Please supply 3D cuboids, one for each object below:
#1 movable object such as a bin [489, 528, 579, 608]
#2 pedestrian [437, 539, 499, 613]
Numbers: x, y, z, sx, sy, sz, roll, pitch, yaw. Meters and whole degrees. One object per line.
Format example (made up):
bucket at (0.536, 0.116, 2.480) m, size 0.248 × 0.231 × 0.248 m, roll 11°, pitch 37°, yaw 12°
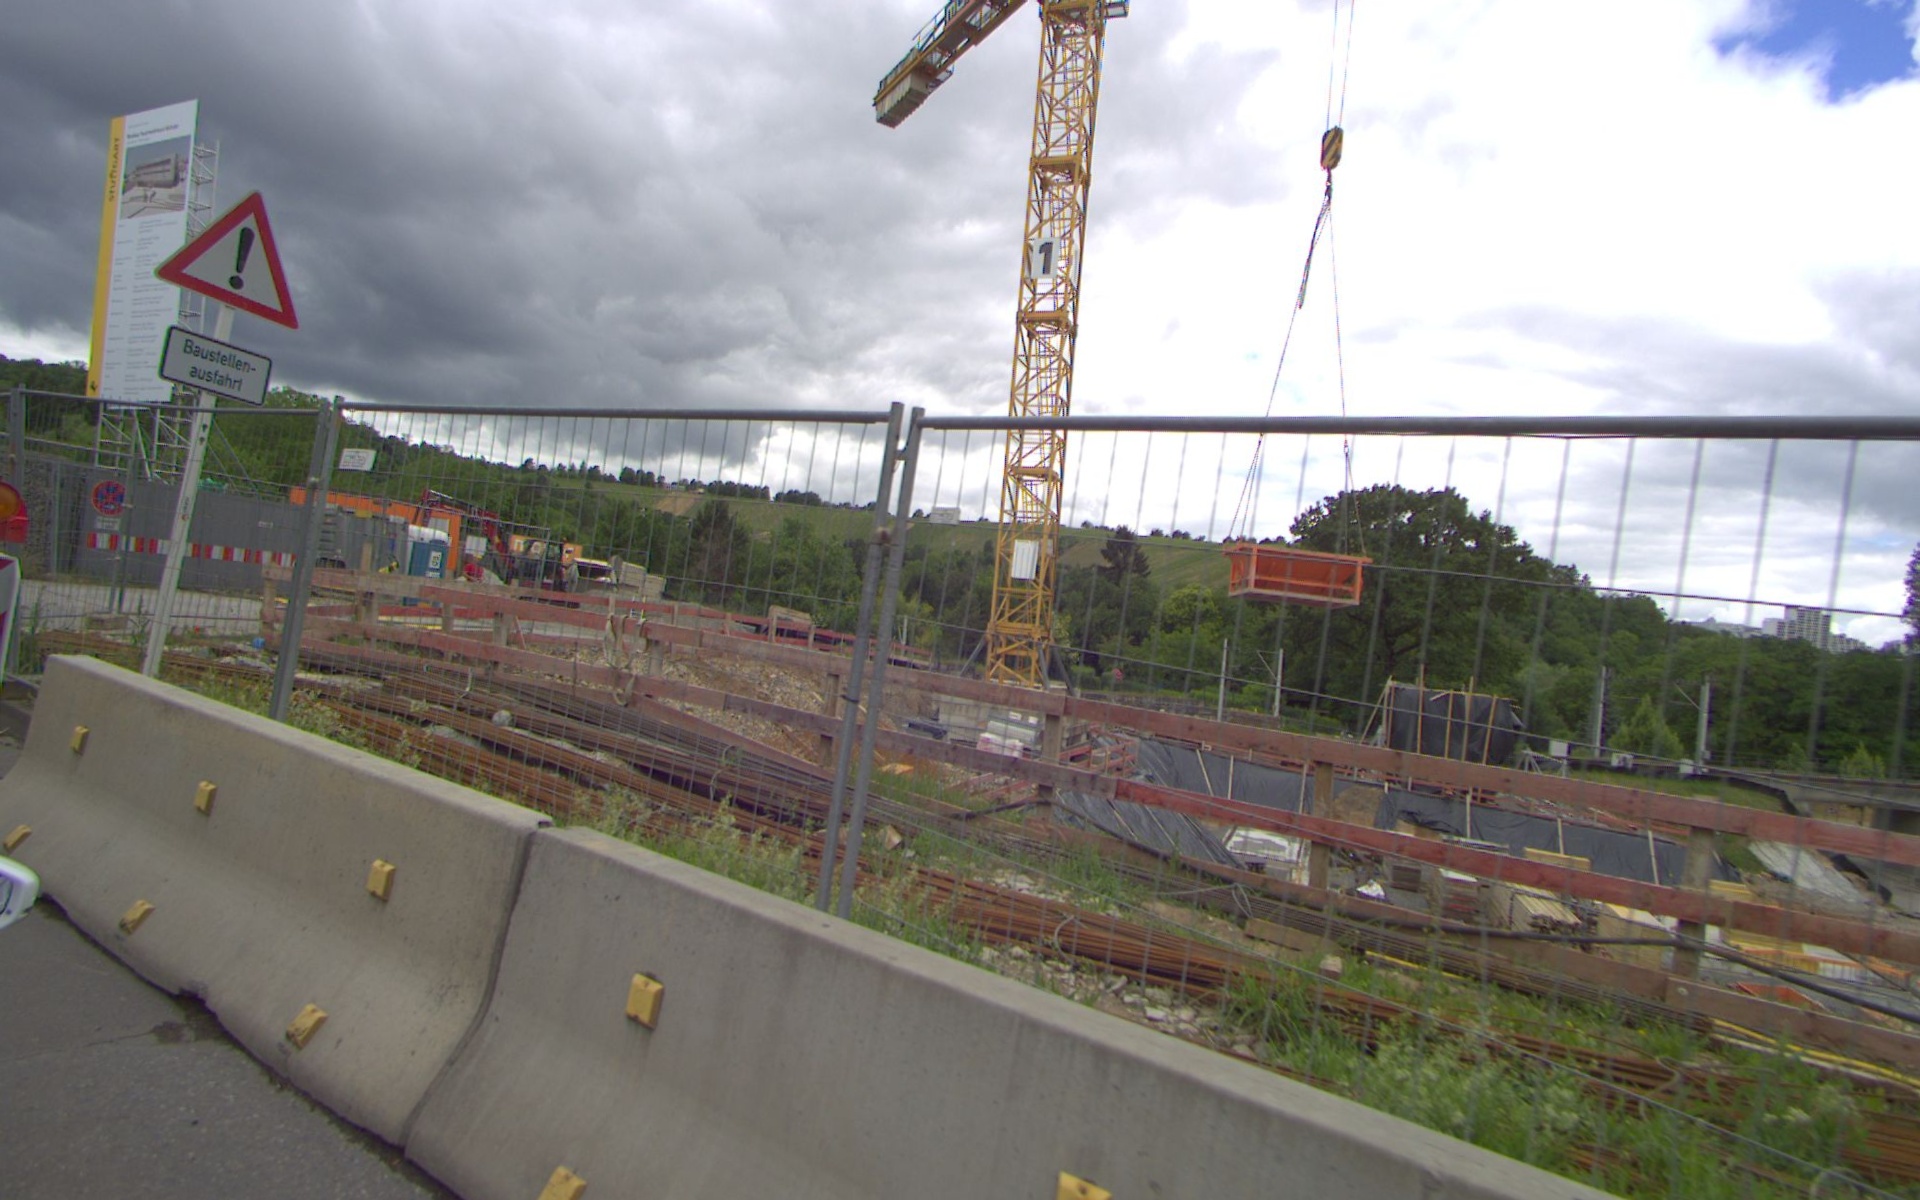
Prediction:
movable object such as a bin at (-16.292, -1.174, 38.603) m, size 2.703 × 2.615 × 1.994 m, roll 8°, pitch -2°, yaw -18°
pedestrian at (-14.111, -0.683, 28.861) m, size 1.134 × 1.923 × 0.827 m, roll 6°, pitch -1°, yaw 22°
